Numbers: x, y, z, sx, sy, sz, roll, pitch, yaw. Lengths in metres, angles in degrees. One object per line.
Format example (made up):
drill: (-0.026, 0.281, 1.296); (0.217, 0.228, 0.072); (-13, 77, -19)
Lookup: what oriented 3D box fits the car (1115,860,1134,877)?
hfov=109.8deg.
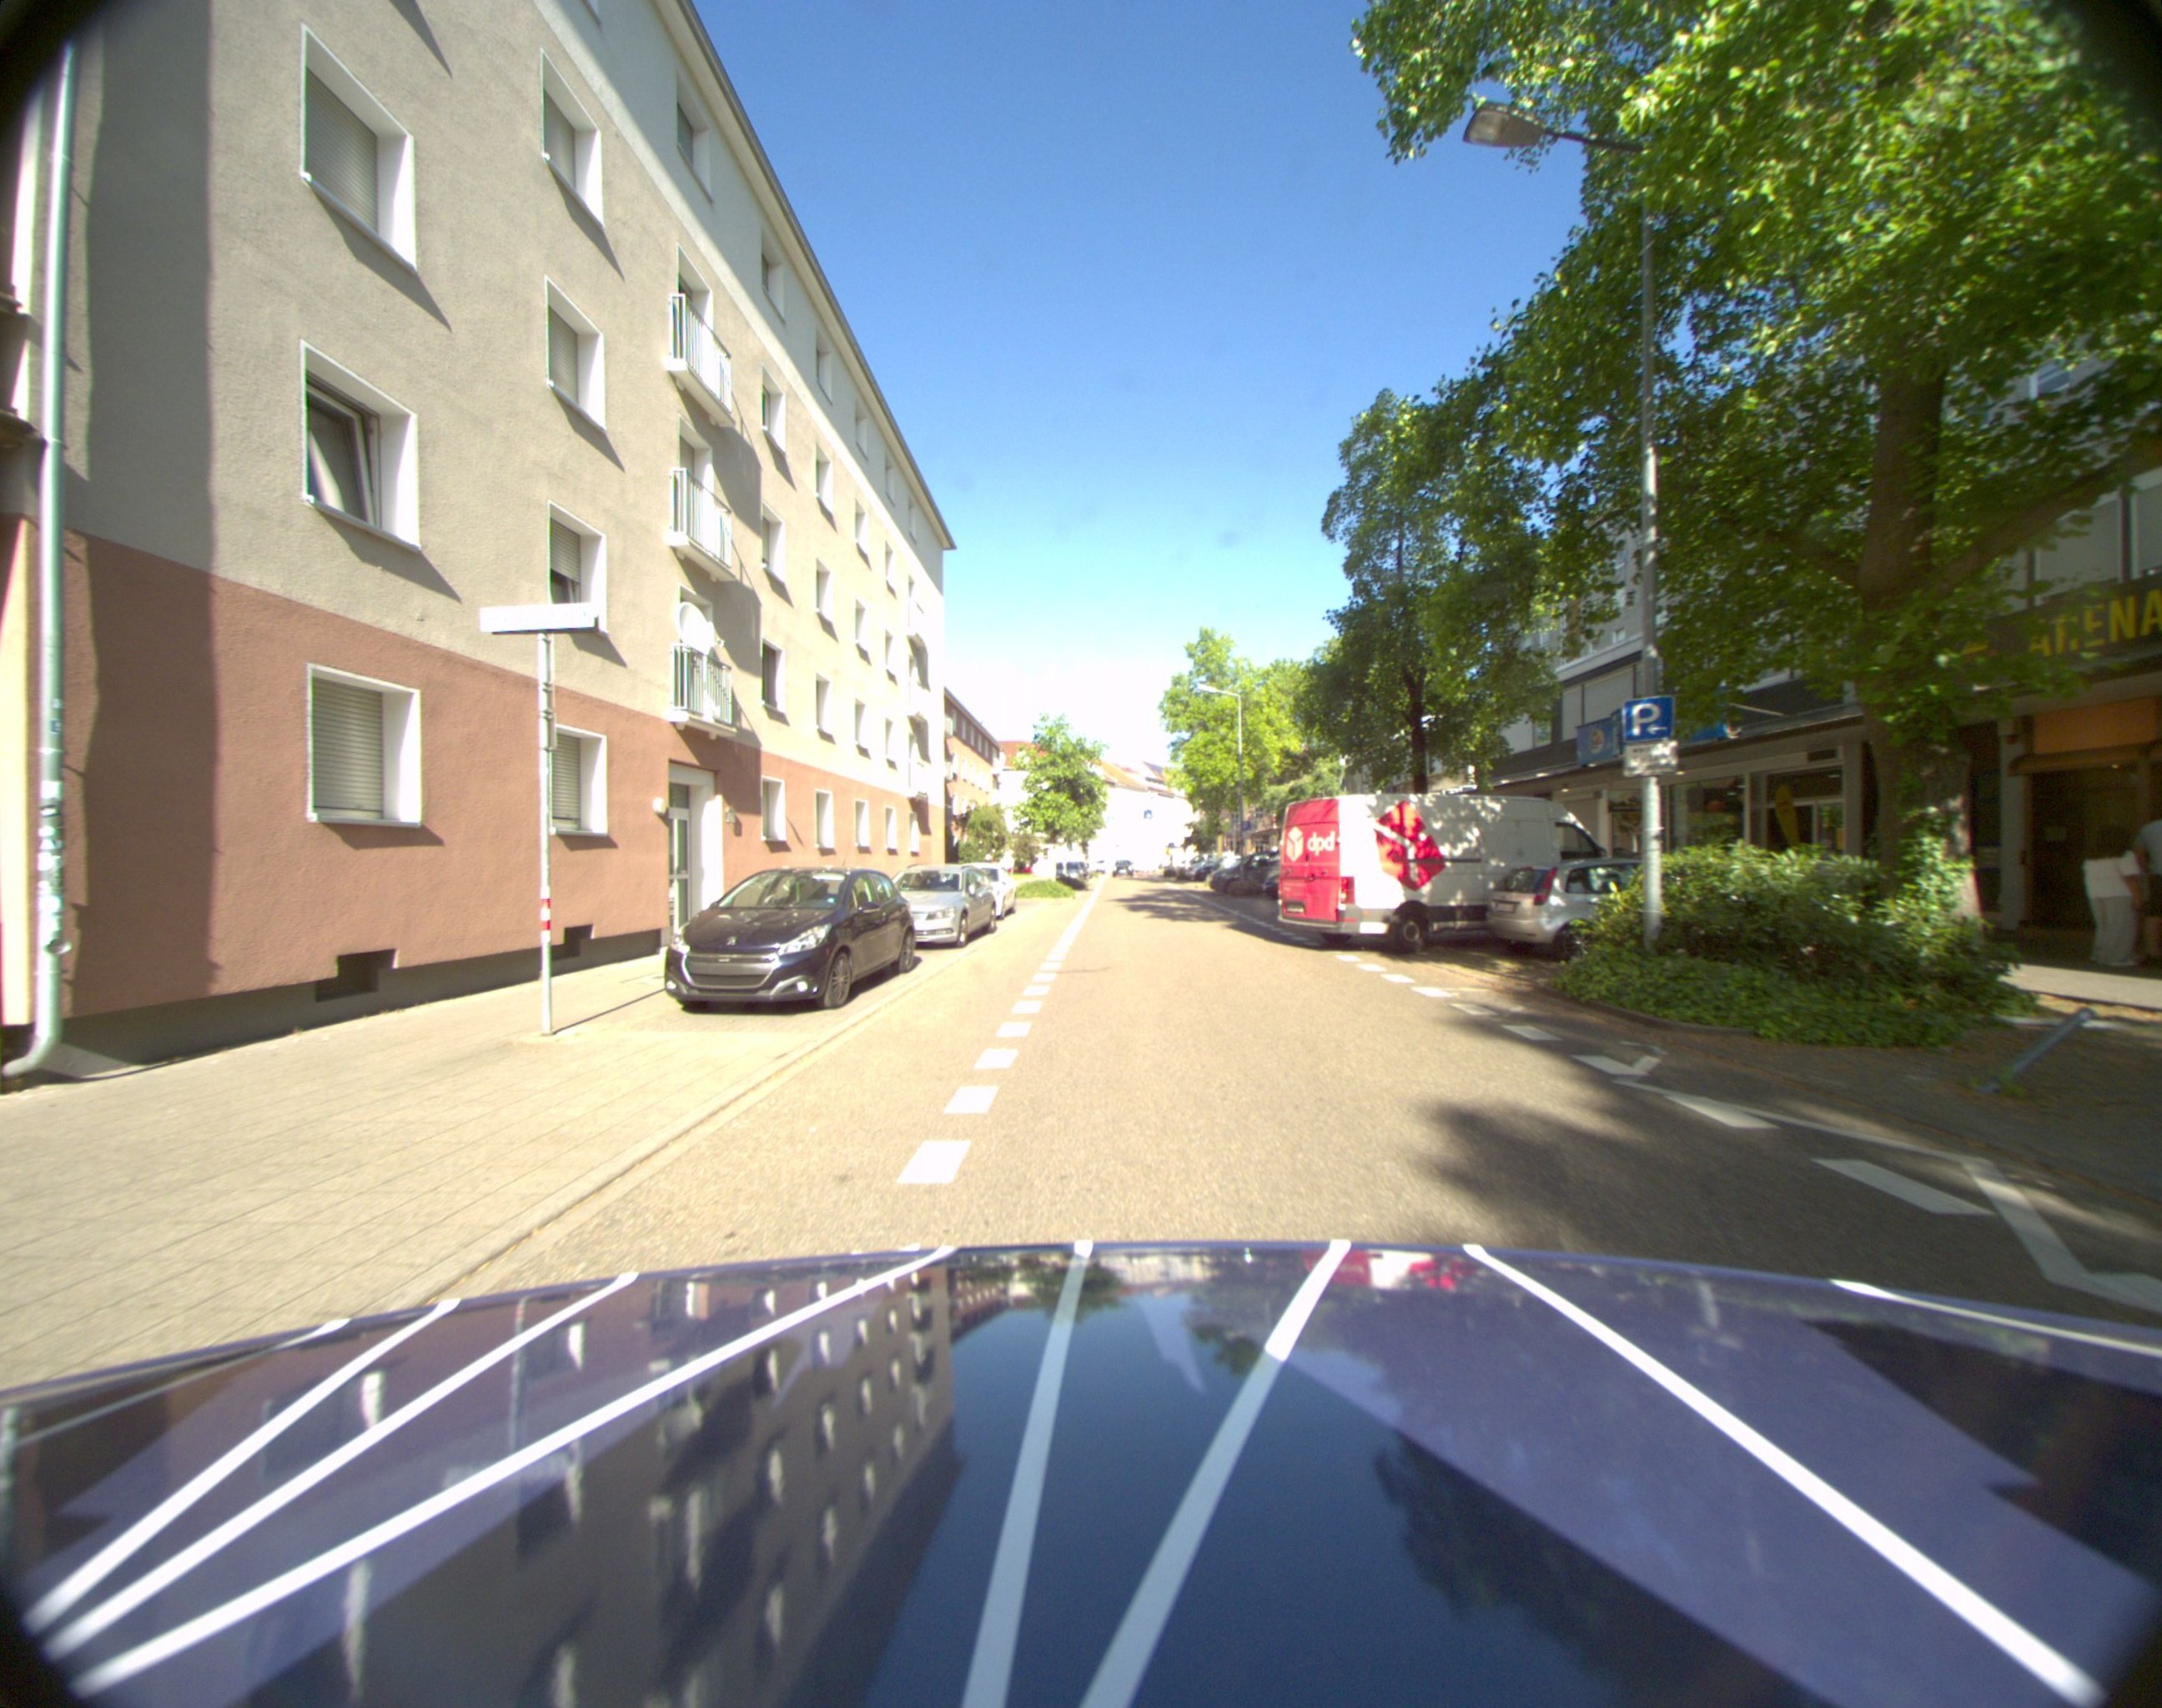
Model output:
car: (3.863, 1.246, 67.905); (1.612, 1.444, 3.295); (-1, 0, 2)

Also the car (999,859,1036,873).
car: (-6.565, 1.258, 78.582); (3.647, 1.394, 1.568); (-1, 0, 3)

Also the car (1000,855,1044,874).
car: (-6.499, 1.151, 83.974); (4.755, 2.002, 2.000); (-1, 0, -2)

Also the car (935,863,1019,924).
car: (-2.788, 1.022, 21.141); (1.735, 1.477, 3.795); (1, 0, 1)

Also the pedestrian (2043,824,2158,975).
pedestrian: (11.996, 0.520, 8.963); (0.598, 1.701, 0.588); (0, 1, 24)

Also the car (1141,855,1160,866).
car: (9.506, 0.890, 103.778); (1.632, 1.412, 3.300); (-1, 0, 26)

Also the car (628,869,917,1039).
car: (-3.242, 0.966, 8.847); (1.713, 1.471, 3.711); (-1, 0, 2)

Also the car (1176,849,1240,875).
car: (10.634, 0.670, 63.851); (4.995, 1.958, 1.910); (-2, 0, 1)

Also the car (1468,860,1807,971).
car: (7.974, 0.843, 11.180); (3.602, 1.412, 1.832); (-1, 0, 2)

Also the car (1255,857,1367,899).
car: (8.634, 0.886, 28.711); (3.675, 1.442, 1.613); (-2, 0, -1)

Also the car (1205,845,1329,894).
car: (8.224, 0.672, 33.893); (5.042, 1.927, 1.873); (-2, 0, 2)

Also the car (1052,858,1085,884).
car: (-0.733, 0.993, 46.460); (1.720, 1.445, 4.000); (0, 1, 3)

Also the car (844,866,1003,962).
car: (-2.799, 1.009, 14.615); (1.789, 1.451, 4.518); (0, 0, 5)

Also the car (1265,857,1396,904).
car: (8.507, 0.888, 26.138); (3.927, 1.442, 1.710); (-2, 0, 2)

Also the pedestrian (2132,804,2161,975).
pedestrian: (12.451, 0.395, 8.498); (0.598, 1.924, 0.588); (0, 1, 24)

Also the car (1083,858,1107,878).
car: (1.123, 1.062, 58.396); (1.661, 1.473, 4.312); (-1, 0, 3)

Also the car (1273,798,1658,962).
car: (6.819, 0.368, 13.410); (6.609, 2.459, 1.997); (-1, 0, -19)

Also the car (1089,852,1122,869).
car: (2.900, 0.782, 89.632); (1.908, 1.924, 4.818); (-1, 0, 29)

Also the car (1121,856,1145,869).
car: (6.031, 0.966, 88.292); (1.632, 1.412, 3.300); (0, 0, 26)

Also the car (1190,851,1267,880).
car: (9.916, 0.746, 51.350); (4.780, 1.767, 1.874); (-2, 0, 1)

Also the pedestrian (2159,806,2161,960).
pedestrian: (13.547, 0.355, 9.048); (0.595, 1.892, 0.579); (-1, 0, 0)

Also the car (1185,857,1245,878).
car: (9.504, 0.968, 54.050); (3.997, 1.390, 1.760); (-1, 0, 1)
